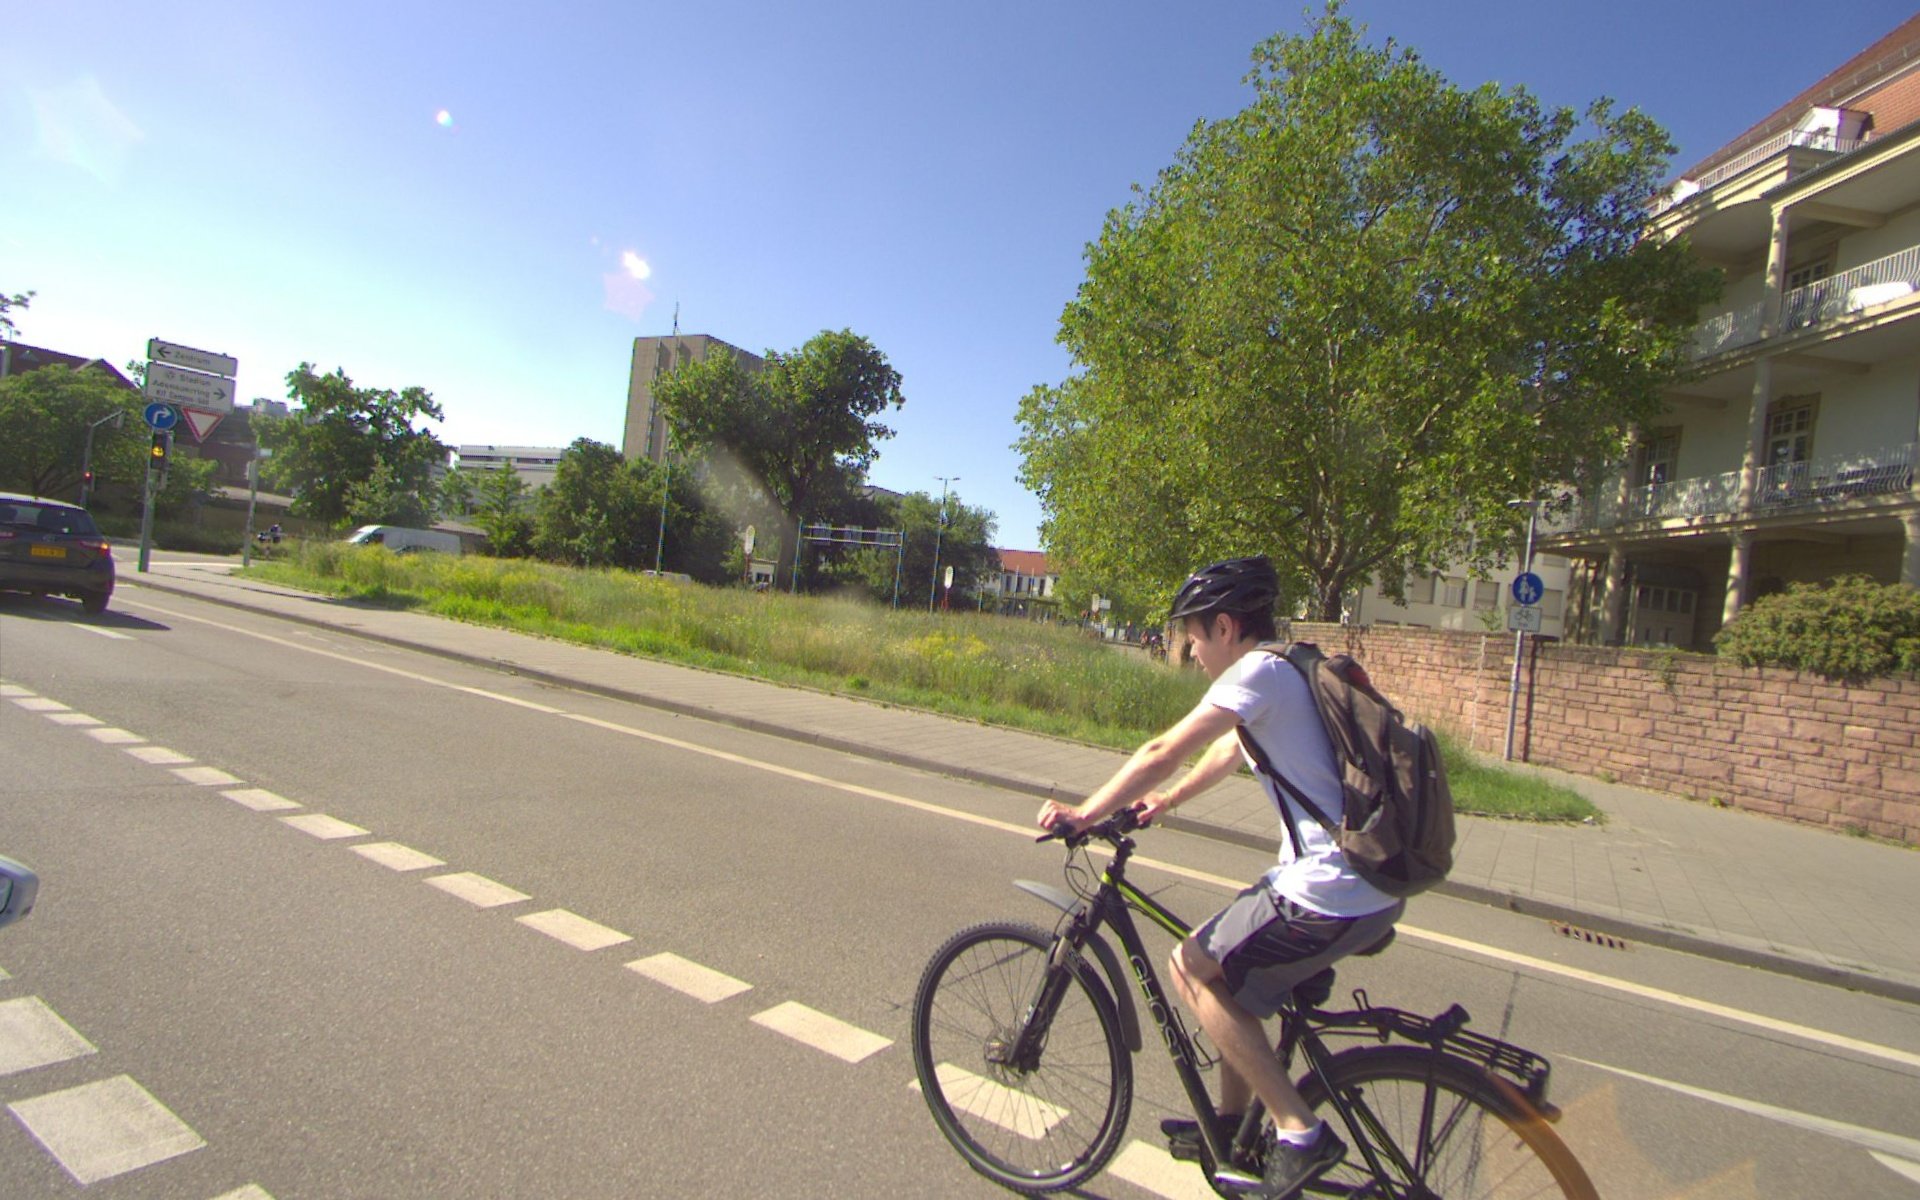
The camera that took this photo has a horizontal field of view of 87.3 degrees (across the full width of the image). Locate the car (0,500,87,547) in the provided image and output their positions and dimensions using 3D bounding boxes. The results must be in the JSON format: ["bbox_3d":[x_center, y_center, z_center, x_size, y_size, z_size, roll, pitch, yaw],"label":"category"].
[{"bbox_3d":[-37.560,-3.152,39.955,1.971,1.481,3.985,6,-1,38],"label":"car"}]

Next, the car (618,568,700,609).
[{"bbox_3d":[-21.153,-0.804,70.887,2.042,2.252,5.090,7,-1,36],"label":"car"}]

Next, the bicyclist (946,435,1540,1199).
[{"bbox_3d":[0.689,0.508,2.408,1.037,1.645,0.723,7,-1,32],"label":"bicyclist"}]

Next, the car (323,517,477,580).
[{"bbox_3d":[-31.038,-2.808,56.074,2.042,2.452,7.155,7,-1,36],"label":"car"}]

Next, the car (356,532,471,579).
[{"bbox_3d":[-28.924,-2.347,53.375,2.042,1.767,4.853,7,-1,36],"label":"car"}]

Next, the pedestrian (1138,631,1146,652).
[{"bbox_3d":[15.148,3.444,83.750,0.490,1.722,0.611,5,-1,14],"label":"pedestrian"}]

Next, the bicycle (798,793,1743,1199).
[{"bbox_3d":[0.605,1.153,2.413,1.853,0.971,0.723,6,-1,32],"label":"bicycle"}]

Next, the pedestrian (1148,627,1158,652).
[{"bbox_3d":[13.512,2.771,70.351,0.490,1.722,0.500,5,-1,9],"label":"pedestrian"}]

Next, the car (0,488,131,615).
[{"bbox_3d":[-13.794,-0.778,14.477,3.599,1.560,1.758,5,-2,33],"label":"car"}]

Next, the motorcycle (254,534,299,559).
[{"bbox_3d":[-39.074,-3.047,57.528,2.037,1.149,0.663,7,-2,-37],"label":"motorcycle"}]

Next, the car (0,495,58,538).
[{"bbox_3d":[-40.213,-3.645,41.593,1.970,1.482,3.985,7,-1,38],"label":"car"}]
